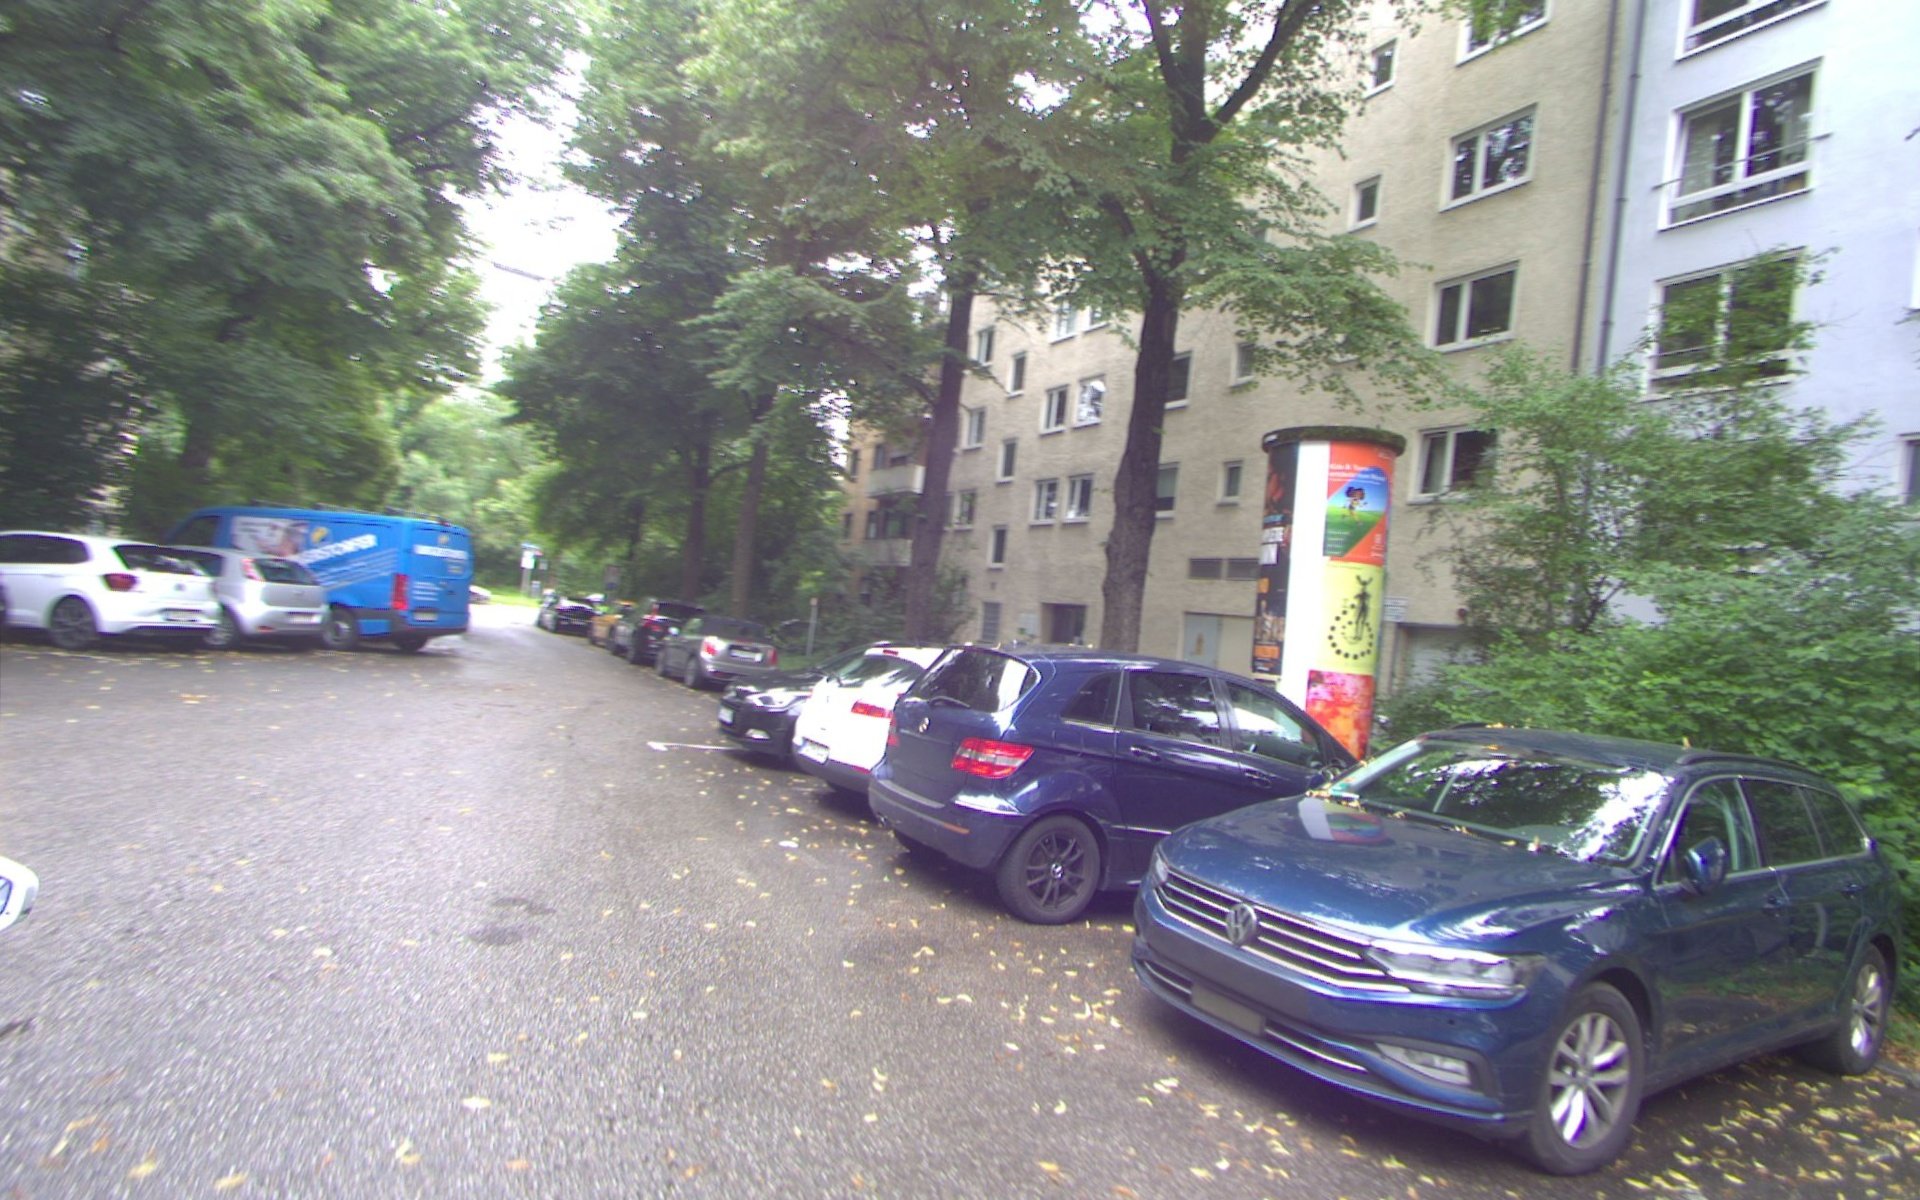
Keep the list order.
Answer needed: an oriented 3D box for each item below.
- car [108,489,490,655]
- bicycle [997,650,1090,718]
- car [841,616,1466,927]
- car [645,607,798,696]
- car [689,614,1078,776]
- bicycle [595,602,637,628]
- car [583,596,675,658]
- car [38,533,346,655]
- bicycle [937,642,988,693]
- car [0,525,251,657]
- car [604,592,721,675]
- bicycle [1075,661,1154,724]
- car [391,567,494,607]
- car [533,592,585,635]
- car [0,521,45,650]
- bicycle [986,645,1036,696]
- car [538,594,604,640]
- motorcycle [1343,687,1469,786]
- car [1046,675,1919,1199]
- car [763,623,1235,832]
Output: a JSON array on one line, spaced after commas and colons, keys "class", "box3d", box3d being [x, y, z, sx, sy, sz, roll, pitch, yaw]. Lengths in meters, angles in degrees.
[{"class": "car", "box3d": [-11.477, -0.435, 17.677, 5.390, 2.382, 2.068, 4, -2, 7]}, {"class": "bicycle", "box3d": [1.648, 1.649, 19.605, 1.864, 1.137, 0.534, 9, -2, -41]}, {"class": "car", "box3d": [1.401, 1.153, 6.985, 3.939, 1.573, 1.744, 8, -2, -28]}, {"class": "car", "box3d": [-5.063, 0.993, 20.845, 1.883, 1.430, 4.400, 6, -2, -29]}, {"class": "car", "box3d": [-0.779, 1.129, 11.534, 4.061, 1.410, 1.718, 8, -2, -37]}, {"class": "bicycle", "box3d": [-15.754, 0.702, 46.044, 1.733, 0.993, 0.272, 7, -1, -20]}, {"class": "car", "box3d": [-9.825, 0.765, 29.717, 1.607, 1.429, 3.750, 8, -2, -32]}, {"class": "car", "box3d": [-11.600, -0.056, 15.315, 3.485, 1.449, 1.646, 5, -2, 7]}, {"class": "bicycle", "box3d": [0.078, 1.680, 24.757, 0.438, 1.137, 1.771, 6, -2, 26]}, {"class": "car", "box3d": [-12.080, -0.137, 13.290, 4.203, 1.531, 1.805, 3, -2, 6]}, {"class": "car", "box3d": [-7.562, 0.779, 25.263, 1.817, 1.648, 4.496, 8, -2, -28]}, {"class": "bicycle", "box3d": [3.334, 1.997, 21.912, 0.442, 1.137, 1.753, 8, -2, -38]}, {"class": "car", "box3d": [-28.364, -0.716, 55.306, 4.755, 1.513, 1.833, 8, -2, -23]}, {"class": "car", "box3d": [-16.727, 0.533, 41.909, 1.633, 1.491, 3.622, 8, -2, -26]}, {"class": "car", "box3d": [-12.598, -0.273, 10.983, 3.677, 1.442, 1.835, 3, -2, 7]}, {"class": "bicycle", "box3d": [1.234, 1.696, 23.928, 0.438, 1.137, 1.771, 6, -2, 26]}, {"class": "car", "box3d": [-14.788, 0.607, 38.152, 1.669, 1.373, 3.981, 9, -2, -29]}, {"class": "motorcycle", "box3d": [6.205, 1.907, 13.954, 1.791, 1.211, 0.685, 8, -2, -36]}, {"class": "car", "box3d": [2.921, 1.340, 4.936, 4.687, 1.393, 1.944, 8, -2, -33]}, {"class": "car", "box3d": [0.424, 1.190, 9.258, 3.909, 1.464, 1.812, 8, -2, -32]}]
